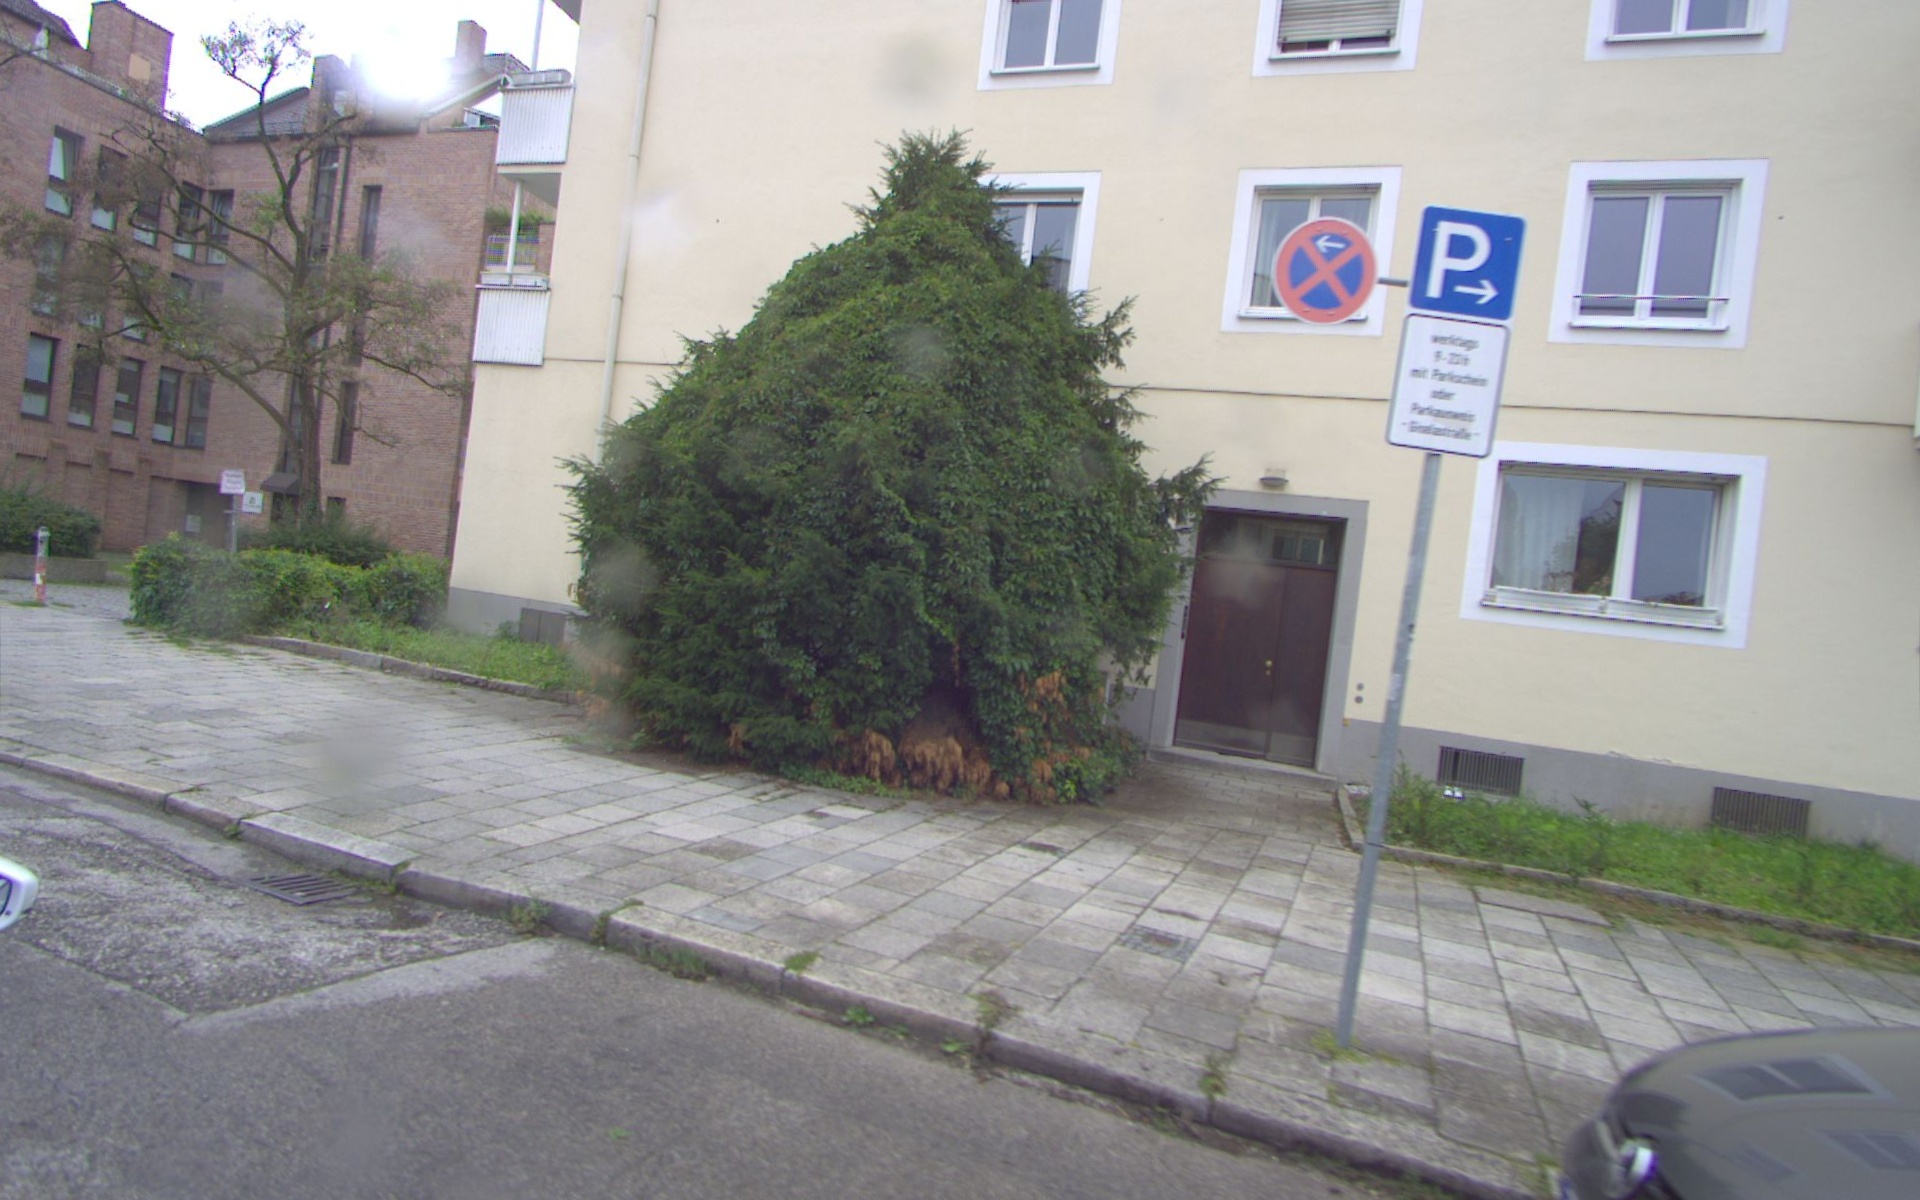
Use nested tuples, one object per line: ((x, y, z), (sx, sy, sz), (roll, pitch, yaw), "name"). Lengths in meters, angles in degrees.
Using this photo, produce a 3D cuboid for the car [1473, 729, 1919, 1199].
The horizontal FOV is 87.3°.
((3.062, 1.189, 1.321), (3.970, 1.412, 1.762), (6, -3, 21), "car")
